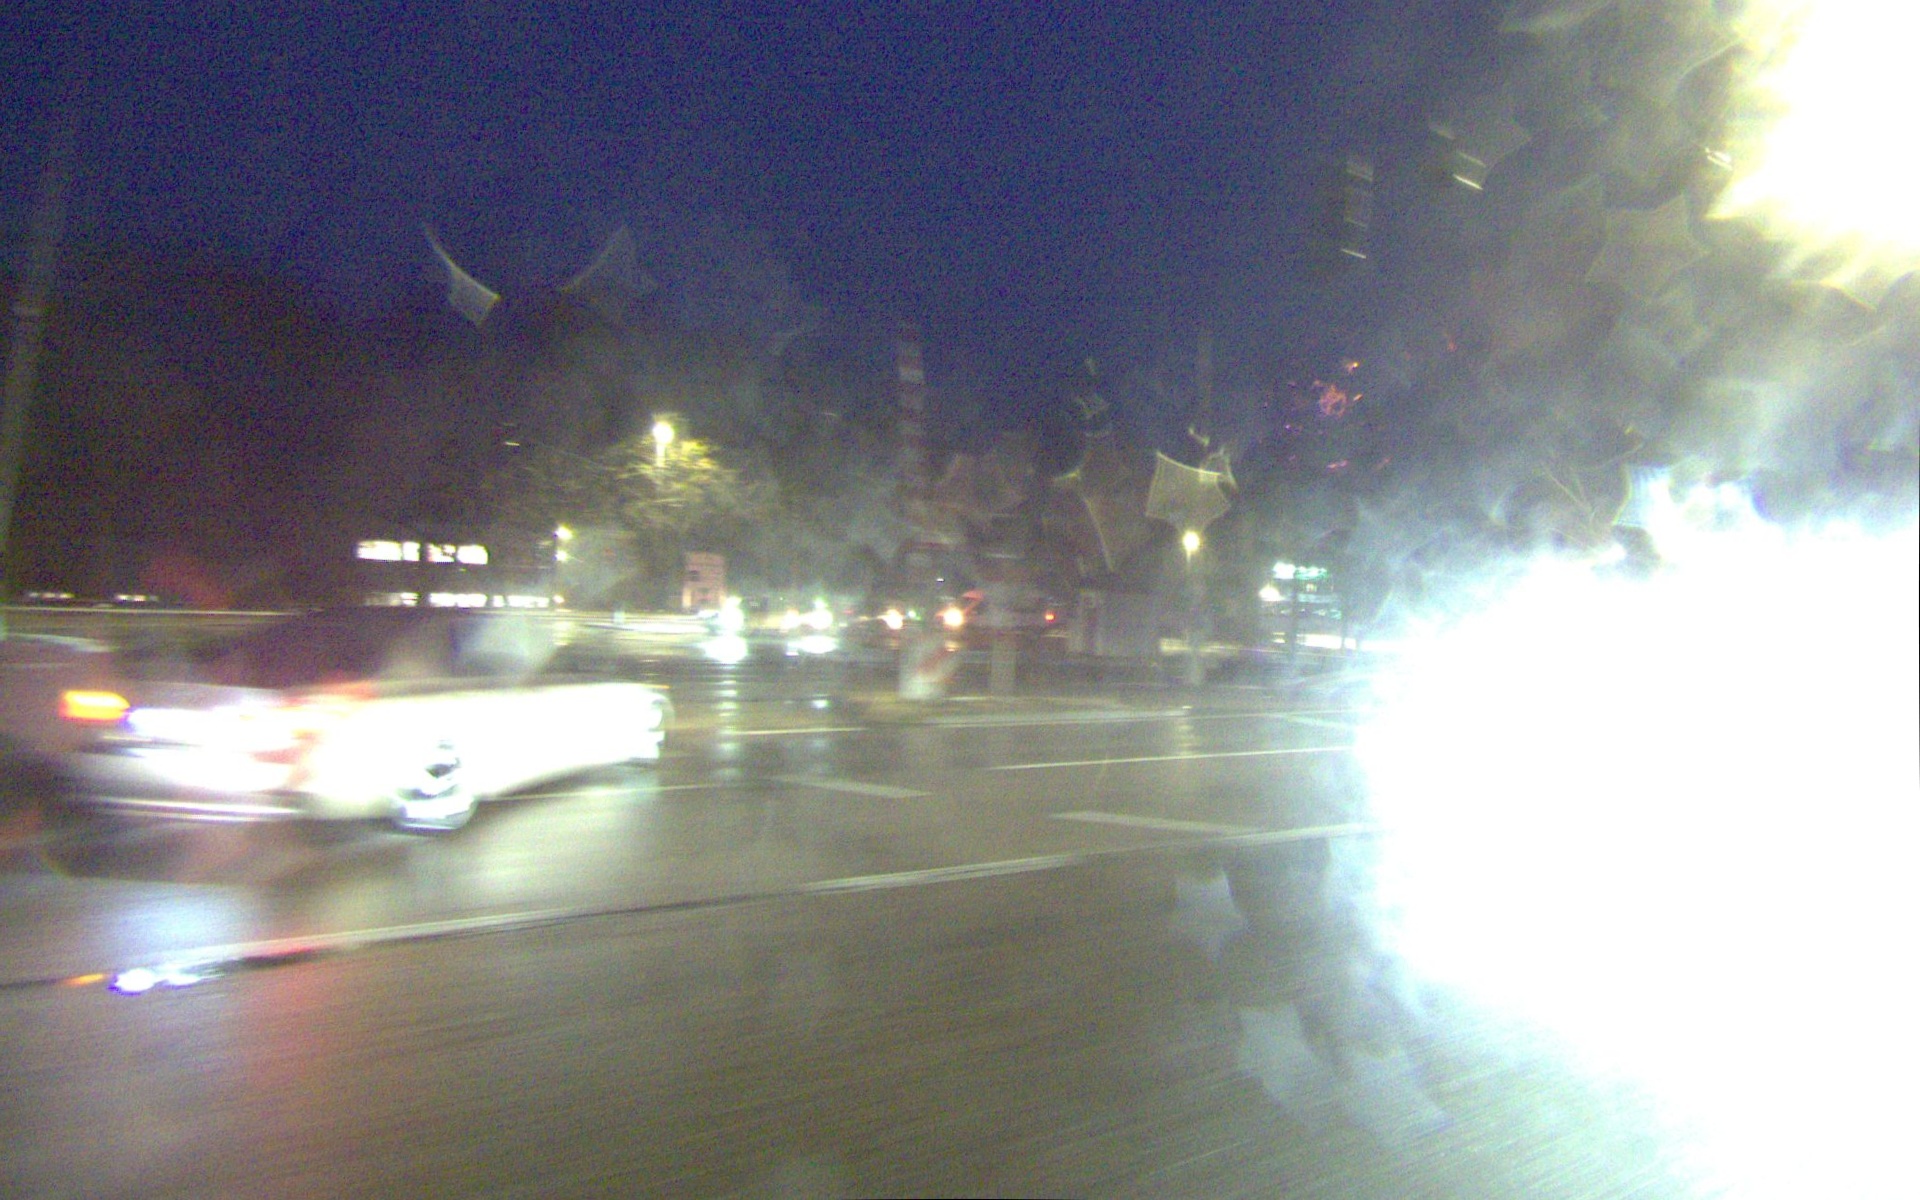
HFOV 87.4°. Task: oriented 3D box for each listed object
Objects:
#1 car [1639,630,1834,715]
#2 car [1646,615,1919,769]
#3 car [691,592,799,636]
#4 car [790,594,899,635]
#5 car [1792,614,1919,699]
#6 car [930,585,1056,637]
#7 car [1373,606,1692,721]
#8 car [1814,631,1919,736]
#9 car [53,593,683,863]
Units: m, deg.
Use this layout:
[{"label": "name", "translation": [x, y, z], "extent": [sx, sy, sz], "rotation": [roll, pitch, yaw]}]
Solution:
[{"label": "car", "translation": [15.417, 1.409, 19.934], "extent": [3.559, 1.472, 1.814], "rotation": [2, 0, -30]}, {"label": "car", "translation": [11.740, 1.174, 13.751], "extent": [4.956, 1.720, 1.983], "rotation": [3, 0, -31]}, {"label": "car", "translation": [-8.460, 0.538, 39.853], "extent": [1.965, 1.613, 3.992], "rotation": [1, 0, 31]}, {"label": "car", "translation": [-5.088, 0.654, 44.410], "extent": [4.401, 1.715, 1.835], "rotation": [2, 0, -33]}, {"label": "car", "translation": [21.492, 1.266, 23.193], "extent": [4.442, 1.770, 1.985], "rotation": [2, 0, -28]}, {"label": "car", "translation": [1.655, 0.557, 49.263], "extent": [5.948, 2.338, 1.985], "rotation": [2, 0, -29]}, {"label": "car", "translation": [9.455, 0.969, 16.515], "extent": [5.100, 1.577, 2.347], "rotation": [2, 0, -31]}, {"label": "car", "translation": [16.736, 1.410, 17.175], "extent": [4.416, 1.591, 1.947], "rotation": [3, 0, -31]}, {"label": "car", "translation": [-3.882, 0.701, 7.706], "extent": [1.632, 1.383, 4.507], "rotation": [2, 0, 9]}]
